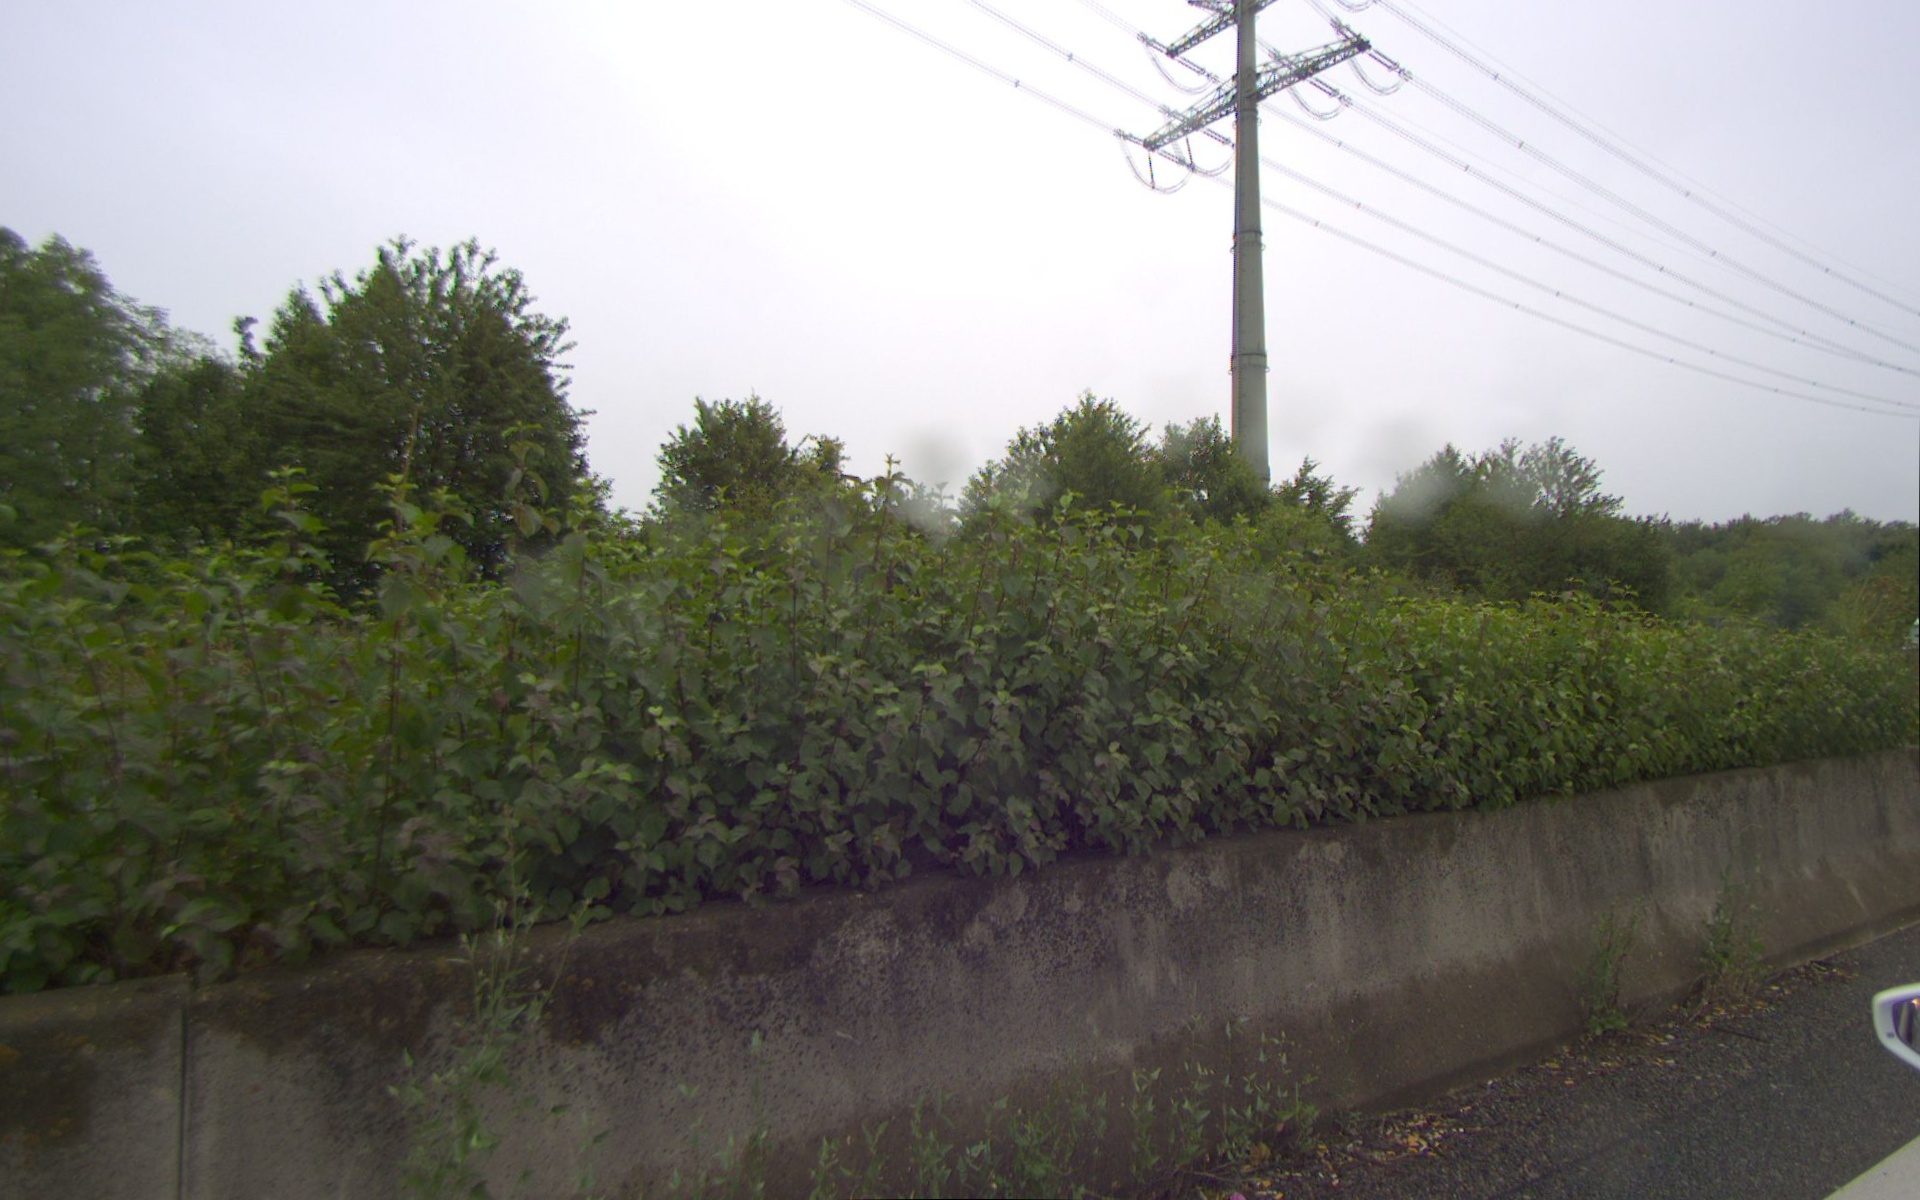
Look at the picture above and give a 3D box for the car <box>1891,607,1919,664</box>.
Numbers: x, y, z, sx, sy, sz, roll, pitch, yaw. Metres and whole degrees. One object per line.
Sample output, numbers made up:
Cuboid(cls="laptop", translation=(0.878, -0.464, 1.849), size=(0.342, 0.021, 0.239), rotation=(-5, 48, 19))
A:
Cuboid(cls="car", translation=(41.091, 1.472, 41.724), size=(5.142, 2.295, 2.170), rotation=(1, -1, -30))
